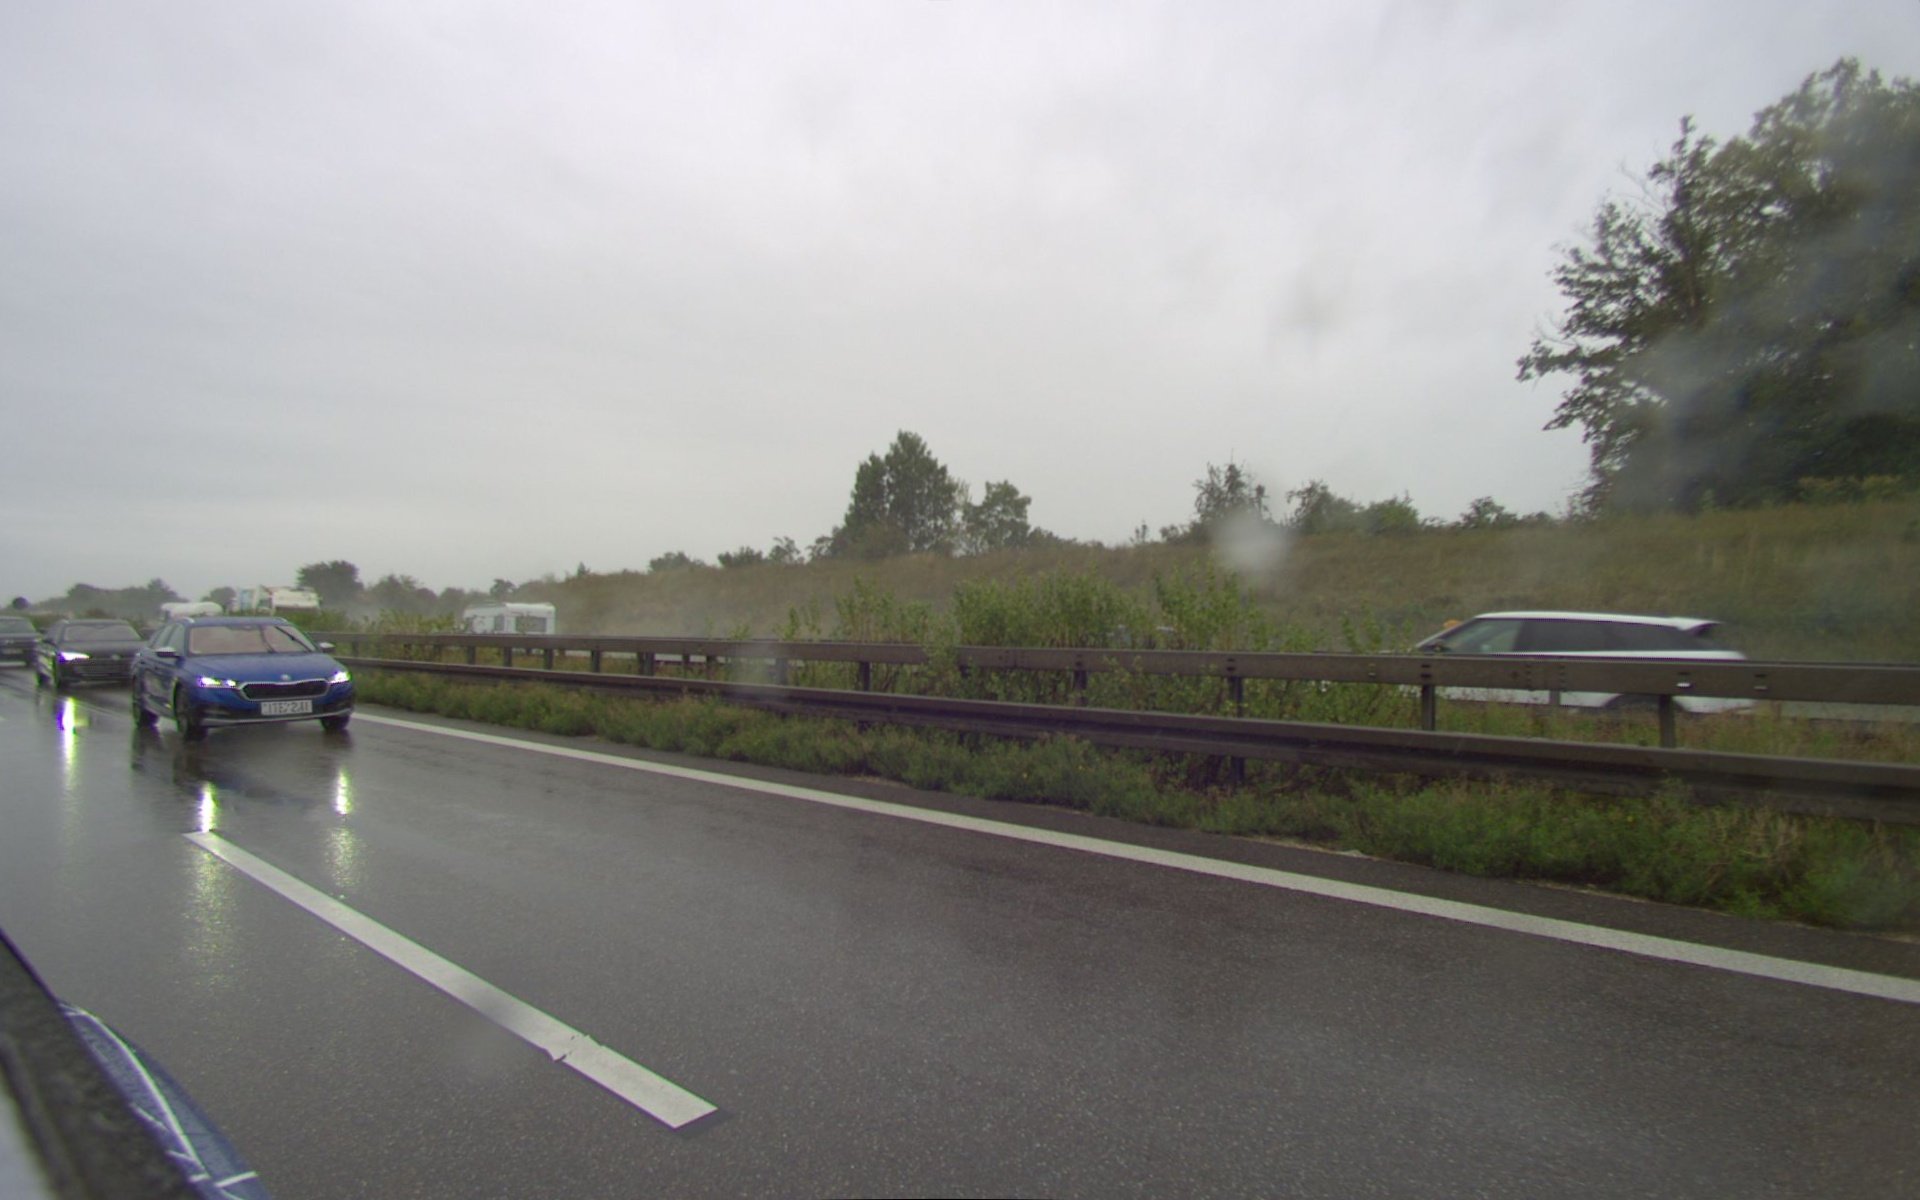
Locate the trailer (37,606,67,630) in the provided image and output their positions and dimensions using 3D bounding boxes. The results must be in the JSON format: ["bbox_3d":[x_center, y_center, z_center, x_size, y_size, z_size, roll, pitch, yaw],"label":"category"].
[{"bbox_3d":[-121.454,2.436,135.323,8.868,3.105,1.973,-2,-1,41],"label":"trailer"}]

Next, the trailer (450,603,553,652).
[{"bbox_3d":[-20.371,1.186,44.898,5.347,2.029,2.070,0,-2,41],"label":"trailer"}]

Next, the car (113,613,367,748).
[{"bbox_3d":[-9.630,0.953,13.394,4.510,1.487,1.767,-2,-1,41],"label":"car"}]

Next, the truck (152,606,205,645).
[{"bbox_3d":[-67.712,2.189,87.711,5.195,3.305,2.515,0,-3,40],"label":"truck"}]

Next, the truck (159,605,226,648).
[{"bbox_3d":[-64.287,2.173,84.678,9.345,3.323,2.528,0,-2,42],"label":"truck"}]

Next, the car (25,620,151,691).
[{"bbox_3d":[-19.861,1.205,22.995,4.368,1.447,1.592,-2,-1,41],"label":"car"}]

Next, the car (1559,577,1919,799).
[{"bbox_3d":[7.935,0.758,9.244,3.997,1.740,1.633,3,0,40],"label":"car"}]

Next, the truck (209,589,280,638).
[{"bbox_3d":[-42.246,0.786,59.722,4.527,2.740,2.455,0,-2,42],"label":"truck"}]

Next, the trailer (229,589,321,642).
[{"bbox_3d":[-37.654,0.817,55.508,7.323,2.739,2.455,0,-2,42],"label":"trailer"}]

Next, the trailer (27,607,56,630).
[{"bbox_3d":[-128.365,2.639,141.441,9.550,3.105,1.973,-2,-1,41],"label":"trailer"}]

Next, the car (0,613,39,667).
[{"bbox_3d":[-31.314,1.286,32.672,4.267,1.644,1.864,-2,-1,41],"label":"car"}]
